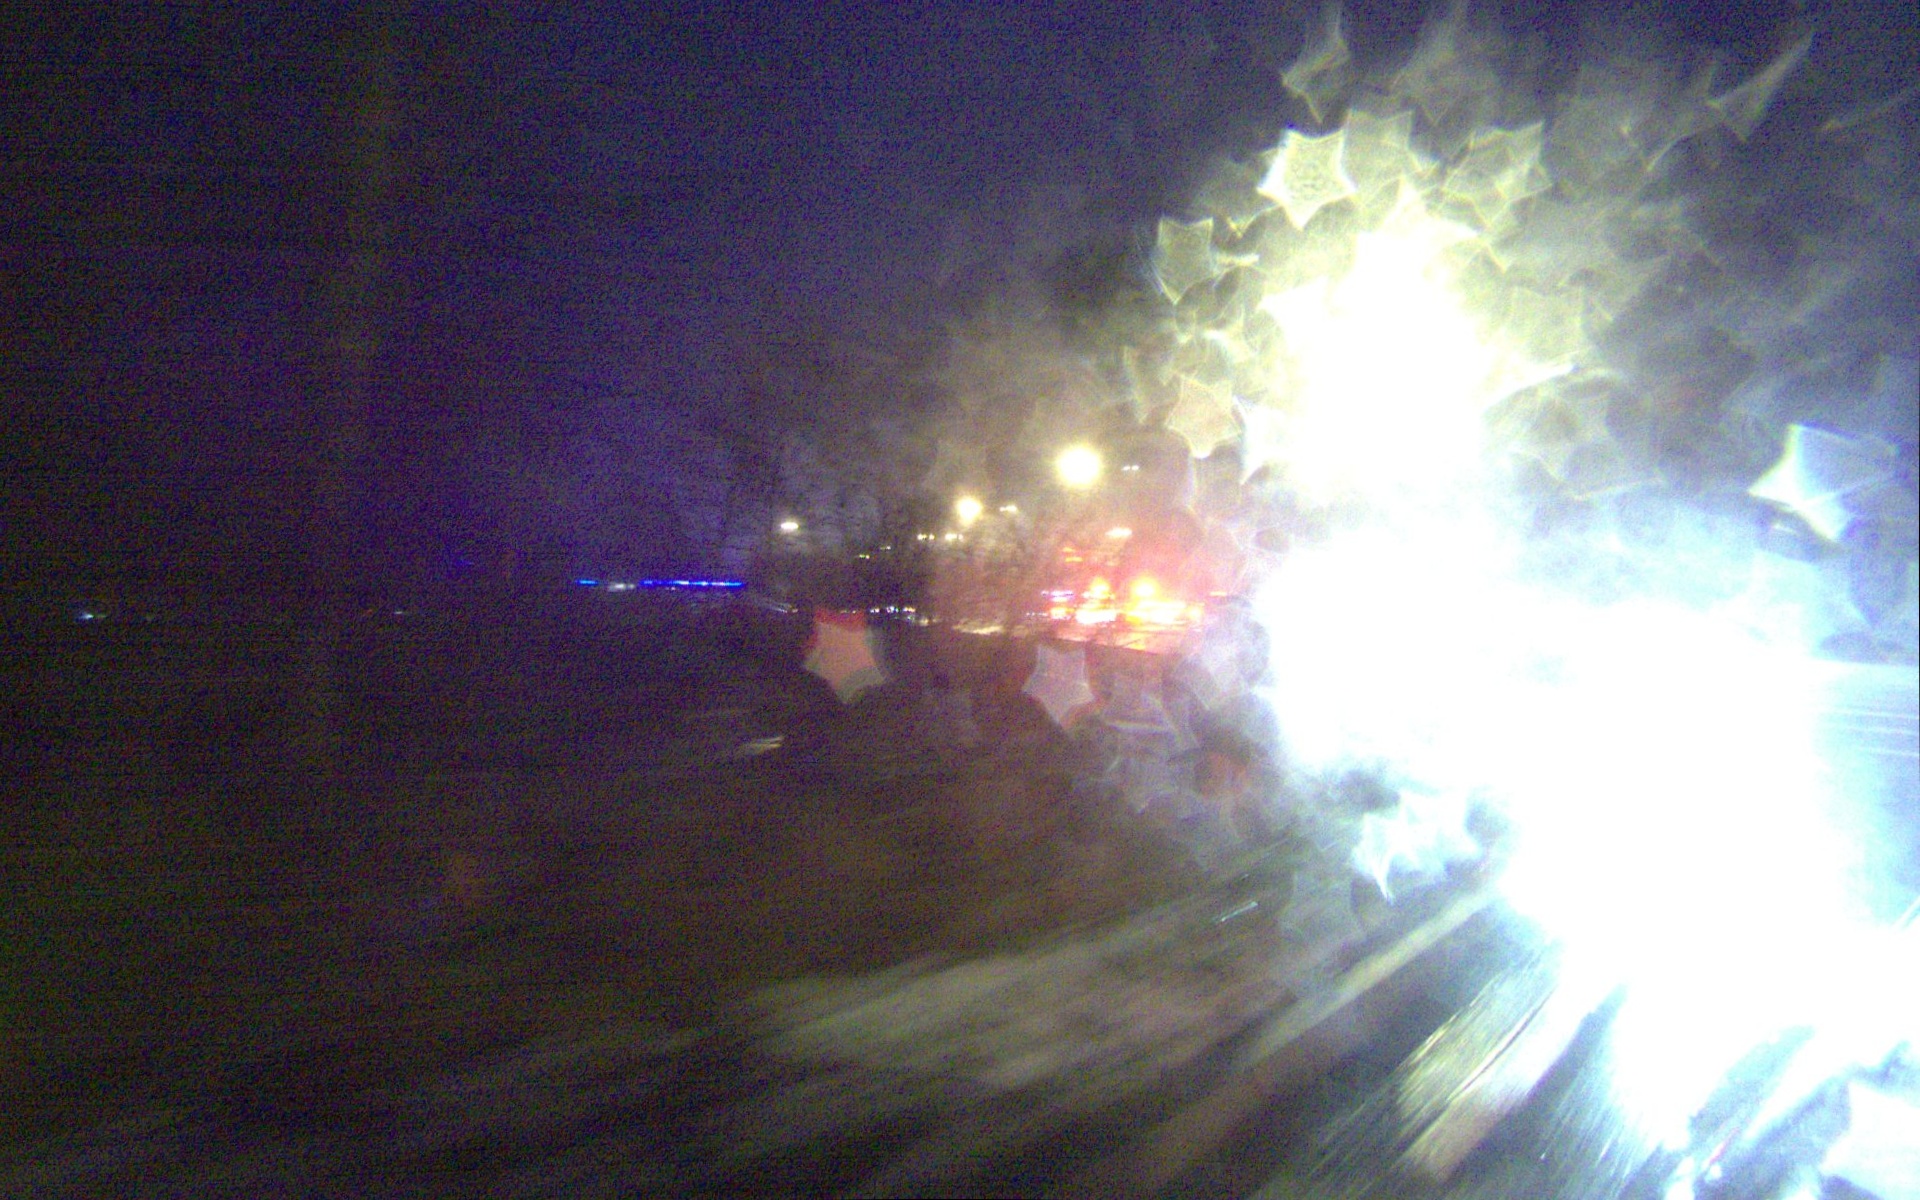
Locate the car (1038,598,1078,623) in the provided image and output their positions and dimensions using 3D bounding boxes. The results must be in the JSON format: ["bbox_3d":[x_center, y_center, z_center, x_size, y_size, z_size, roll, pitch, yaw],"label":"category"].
[{"bbox_3d":[7.168,0.755,74.484,1.728,1.747,3.909,0,0,-14],"label":"car"}]

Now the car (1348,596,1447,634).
[{"bbox_3d":[20.612,0.684,47.930,1.819,1.558,4.543,3,1,-14],"label":"car"}]

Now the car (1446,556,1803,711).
[{"bbox_3d":[9.588,0.431,15.143,1.963,1.950,4.376,-1,0,-10],"label":"car"}]

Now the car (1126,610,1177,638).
[{"bbox_3d":[12.561,1.534,66.508,1.766,1.686,3.985,0,1,-14],"label":"car"}]

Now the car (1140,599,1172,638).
[{"bbox_3d":[15.215,1.359,78.517,2.222,2.743,5.587,1,1,13],"label":"car"}]

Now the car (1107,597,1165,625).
[{"bbox_3d":[10.659,0.663,61.576,1.780,1.598,4.314,1,0,-15],"label":"car"}]

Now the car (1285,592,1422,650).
[{"bbox_3d":[12.123,0.624,31.492,1.793,1.670,4.144,0,-1,-16],"label":"car"}]

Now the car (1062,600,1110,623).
[{"bbox_3d":[8.480,0.761,68.391,1.745,1.503,4.420,0,0,-13],"label":"car"}]

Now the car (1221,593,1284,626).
[{"bbox_3d":[17.412,0.542,60.460,1.728,1.871,4.134,0,1,-14],"label":"car"}]

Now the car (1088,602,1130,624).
[{"bbox_3d":[11.057,0.955,75.349,1.682,1.505,4.066,0,1,-13],"label":"car"}]

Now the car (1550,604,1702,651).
[{"bbox_3d":[23.587,0.929,36.073,1.850,1.550,4.440,0,0,-14],"label":"car"}]

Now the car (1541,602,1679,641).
[{"bbox_3d":[21.134,0.669,33.074,1.614,1.218,3.622,0,0,-15],"label":"car"}]

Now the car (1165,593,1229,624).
[{"bbox_3d":[14.059,0.461,60.299,1.766,1.686,4.497,0,1,-14],"label":"car"}]
